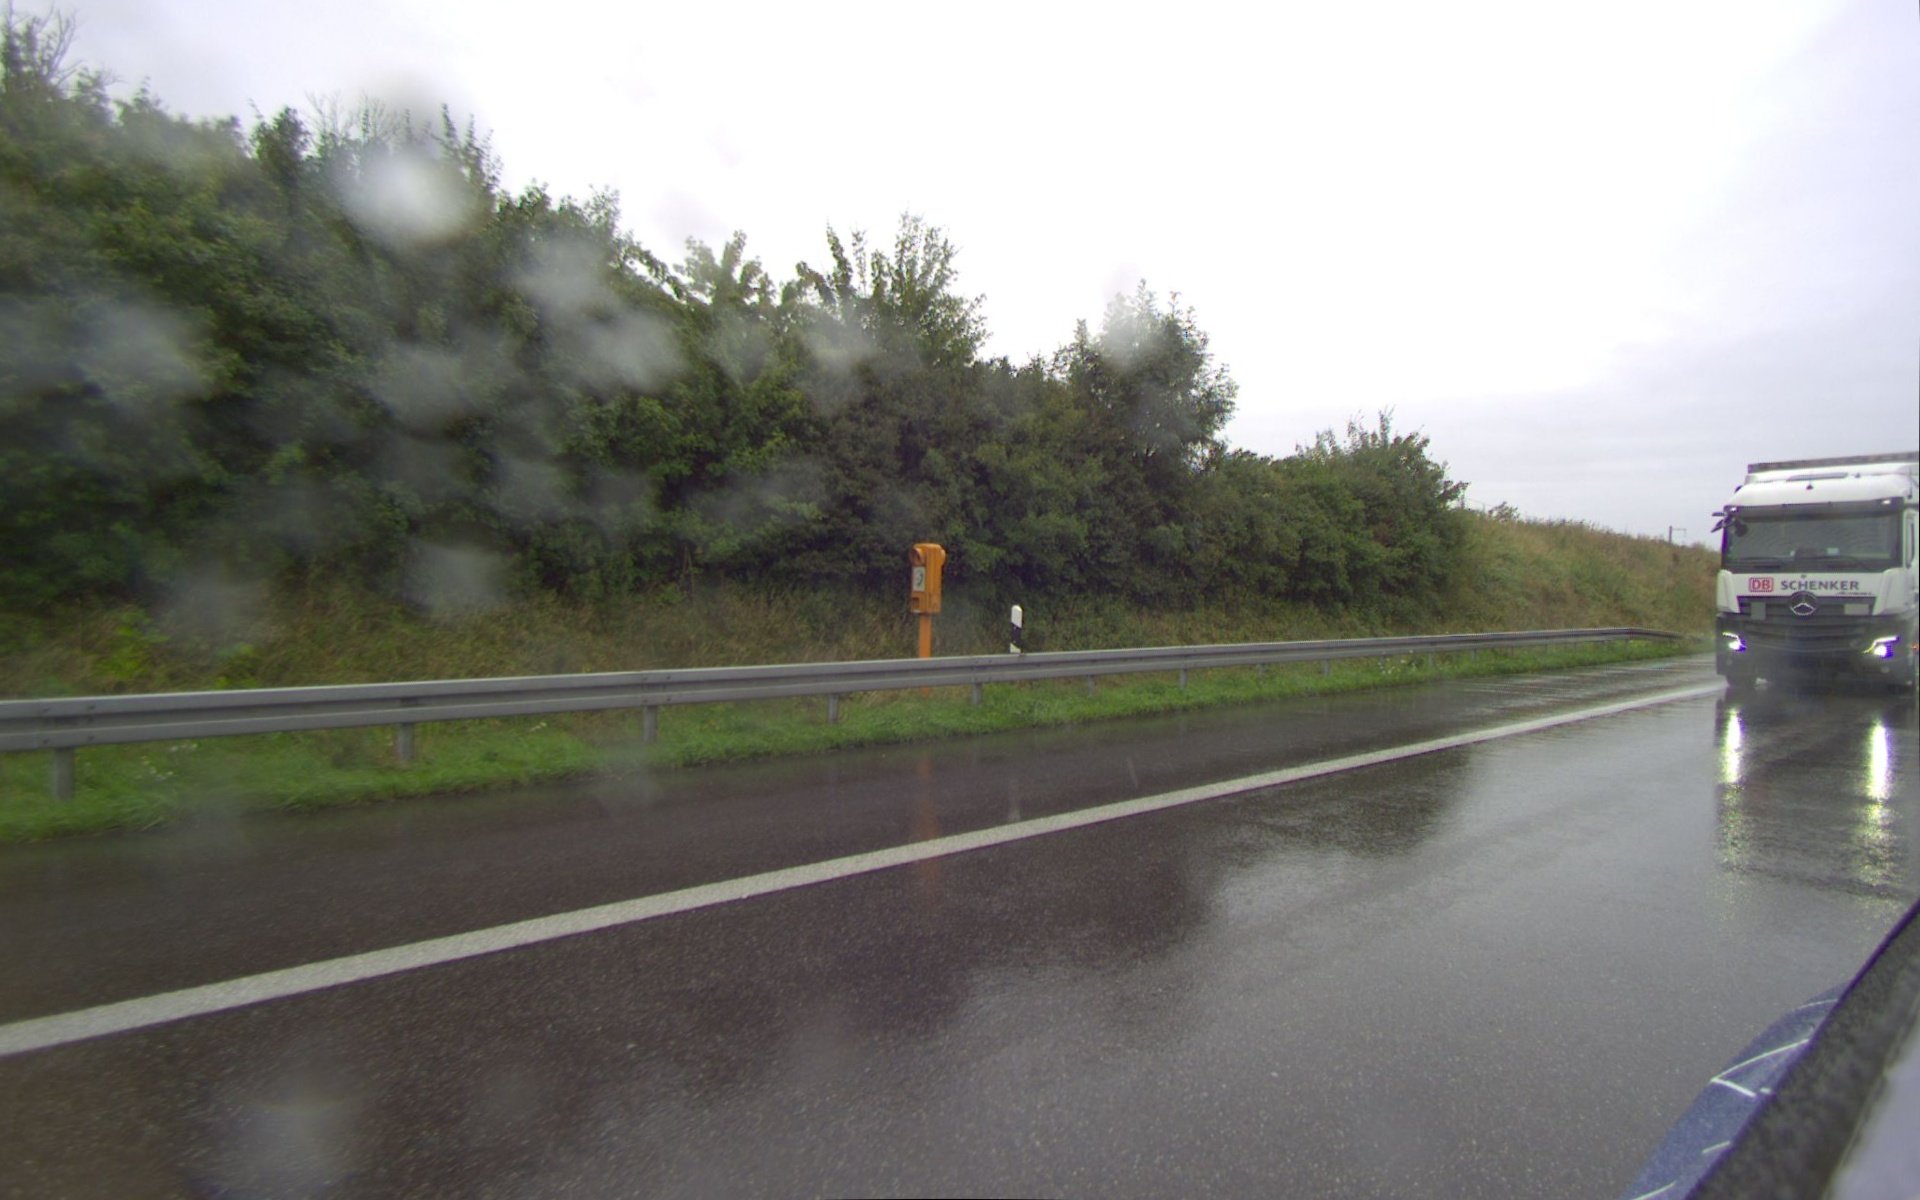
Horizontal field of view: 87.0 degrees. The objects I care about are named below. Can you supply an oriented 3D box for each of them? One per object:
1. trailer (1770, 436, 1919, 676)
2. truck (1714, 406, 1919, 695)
[{"bbox_3d":[21.915,-0.837,23.294,13.928,4.302,2.631,0,0,-41],"label":"trailer"},{"bbox_3d":[15.376,-0.765,17.638,4.956,4.307,2.630,0,0,-41],"label":"truck"}]
